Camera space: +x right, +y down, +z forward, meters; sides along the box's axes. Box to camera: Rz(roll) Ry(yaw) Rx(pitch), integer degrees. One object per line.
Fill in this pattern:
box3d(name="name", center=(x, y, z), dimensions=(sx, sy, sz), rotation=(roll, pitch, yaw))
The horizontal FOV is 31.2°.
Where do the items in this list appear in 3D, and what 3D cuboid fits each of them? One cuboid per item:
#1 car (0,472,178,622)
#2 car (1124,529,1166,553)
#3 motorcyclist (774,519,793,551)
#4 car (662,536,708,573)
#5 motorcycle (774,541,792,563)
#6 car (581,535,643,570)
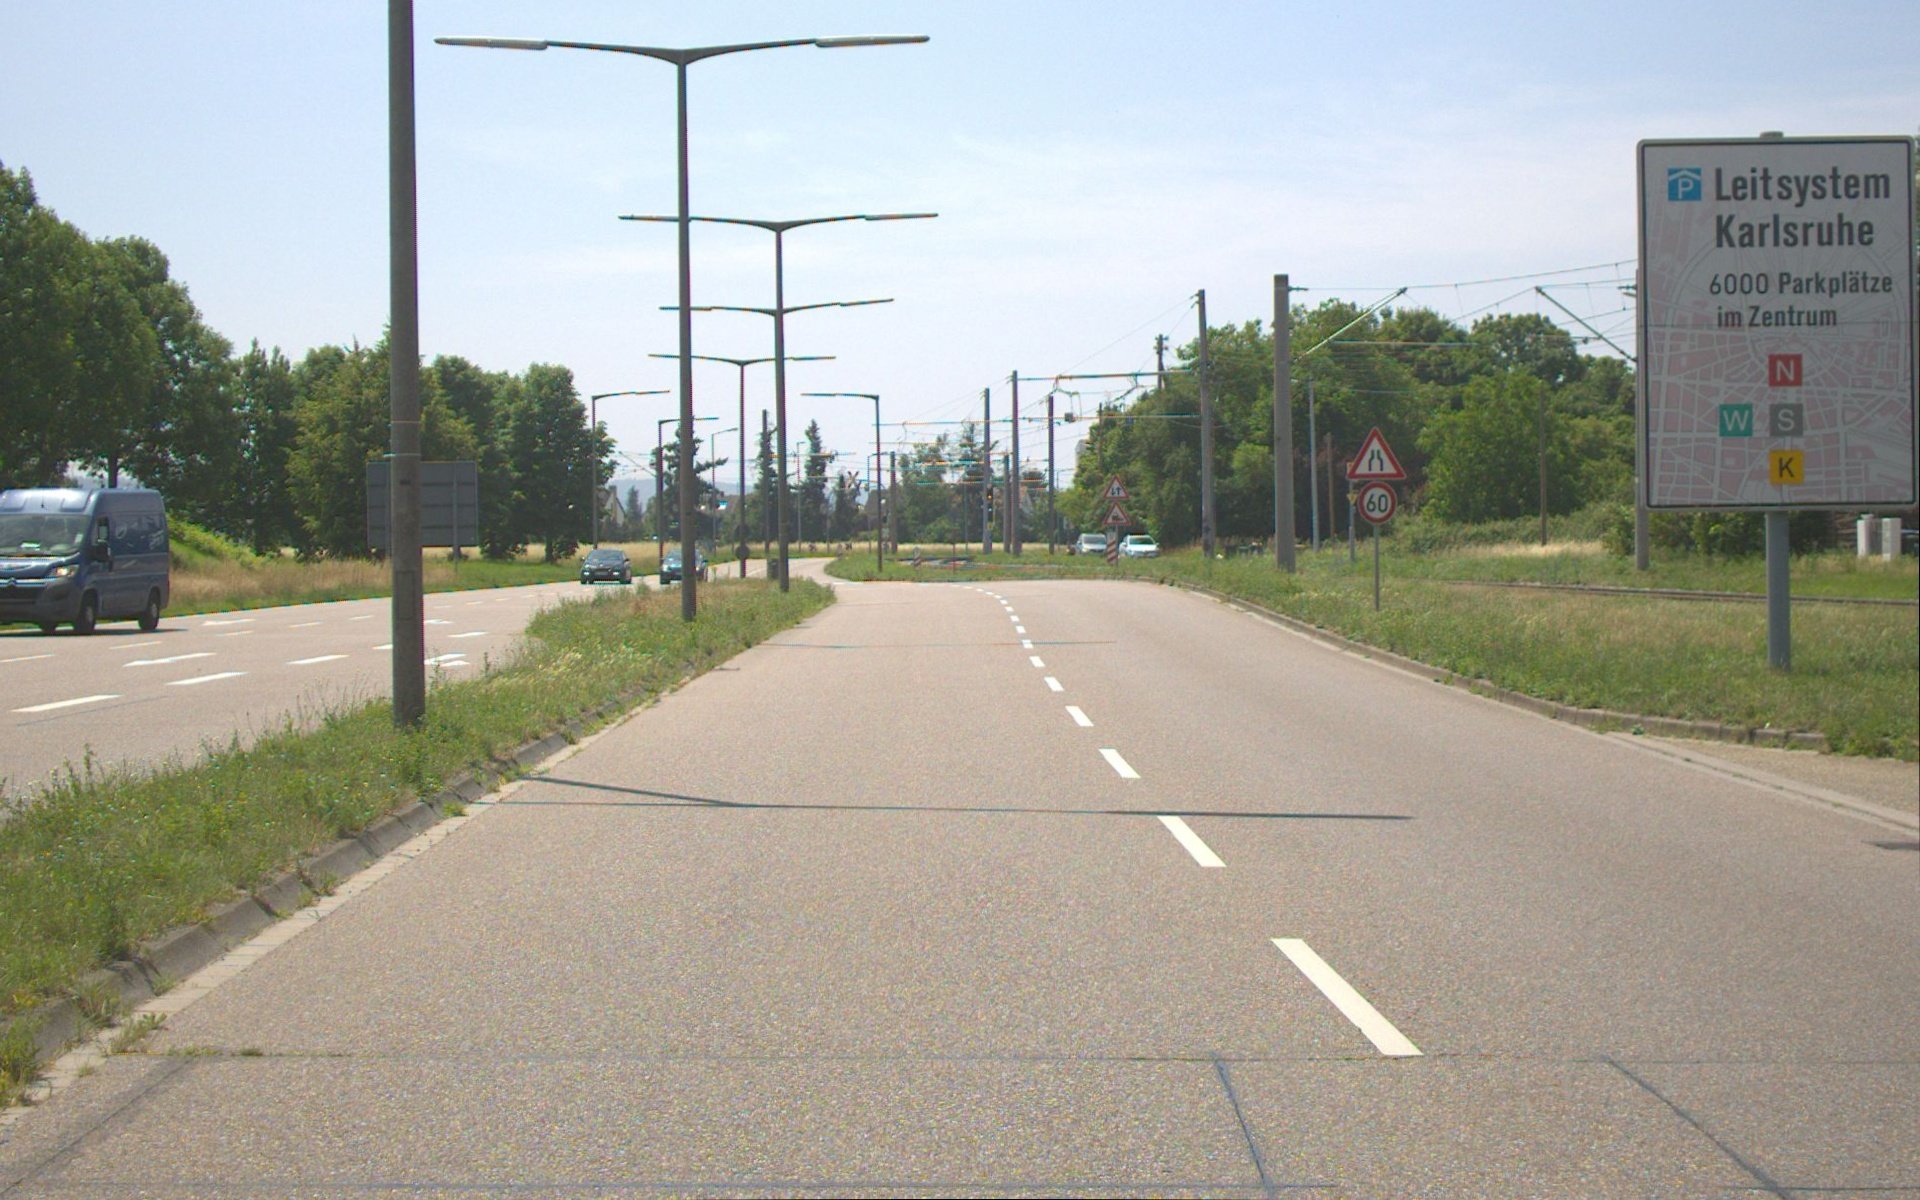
box3d(name="car", center=(-15.067, -0.915, 58.169), dimensions=(2.174, 2.403, 5.671), rotation=(0, 1, 2))
box3d(name="car", center=(9.420, -2.993, 175.341), dimensions=(1.562, 1.175, 3.080), rotation=(-1, 1, -7))
box3d(name="motorcyclist", center=(-12.976, -4.768, 252.598), dimensions=(1.231, 2.343, 1.106), rotation=(1, 0, 2))
box3d(name="car", center=(-11.251, -1.880, 140.713), dimensions=(1.692, 1.486, 4.000), rotation=(-1, 1, -2))
box3d(name="motorcycle", center=(-13.007, -3.508, 252.285), dimensions=(0.989, 1.575, 3.400), rotation=(1, 0, 2))
box3d(name="car", center=(-14.185, -1.962, 140.266), dimensions=(1.993, 1.355, 4.666), rotation=(-1, 1, 0))
